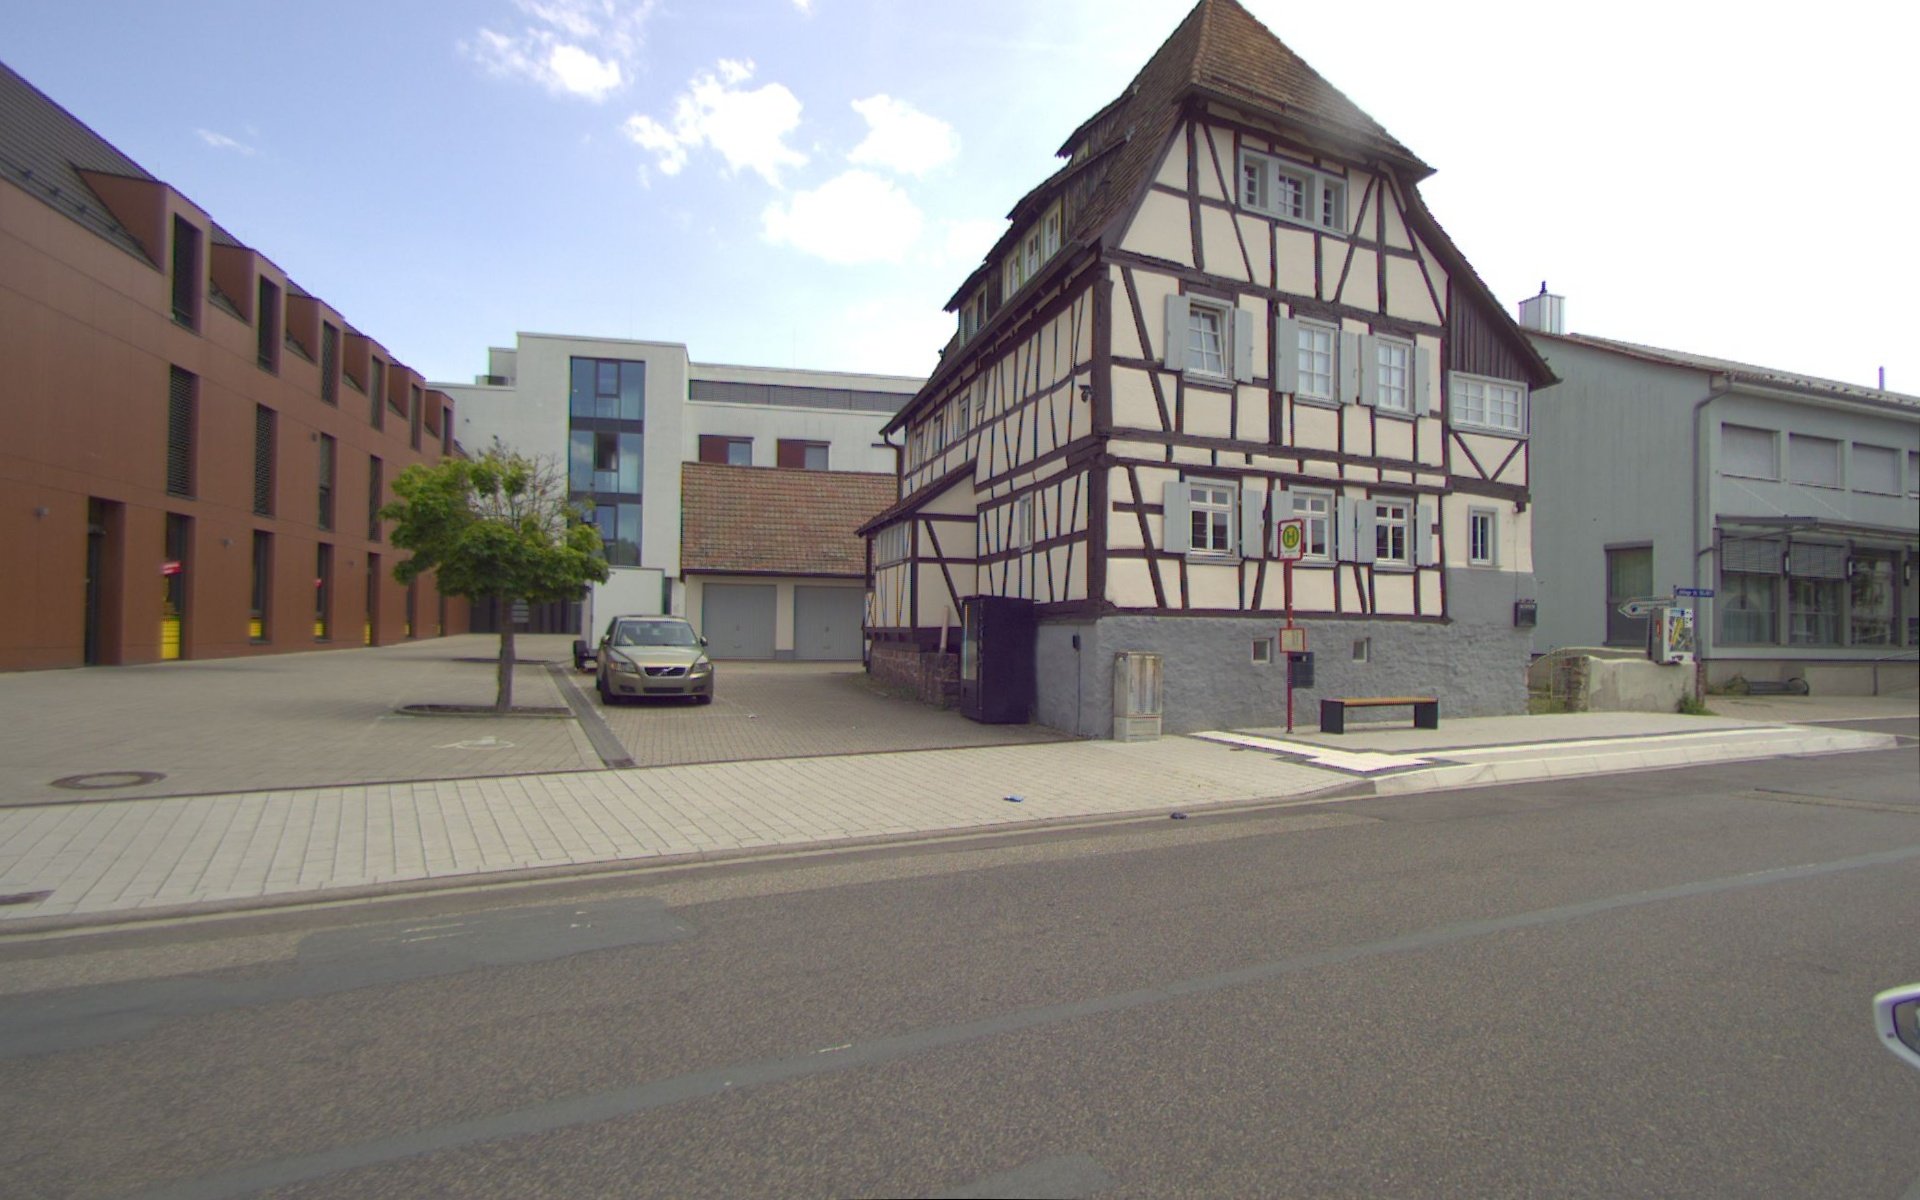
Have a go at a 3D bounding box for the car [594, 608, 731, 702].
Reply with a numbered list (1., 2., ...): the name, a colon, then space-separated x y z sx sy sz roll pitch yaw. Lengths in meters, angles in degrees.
1. car: -5.430 0.902 17.957 1.936 1.407 4.418 2 -1 -22

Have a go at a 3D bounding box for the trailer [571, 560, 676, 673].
1. trailer: -8.267 0.377 24.422 1.937 2.457 4.414 2 -1 -24
